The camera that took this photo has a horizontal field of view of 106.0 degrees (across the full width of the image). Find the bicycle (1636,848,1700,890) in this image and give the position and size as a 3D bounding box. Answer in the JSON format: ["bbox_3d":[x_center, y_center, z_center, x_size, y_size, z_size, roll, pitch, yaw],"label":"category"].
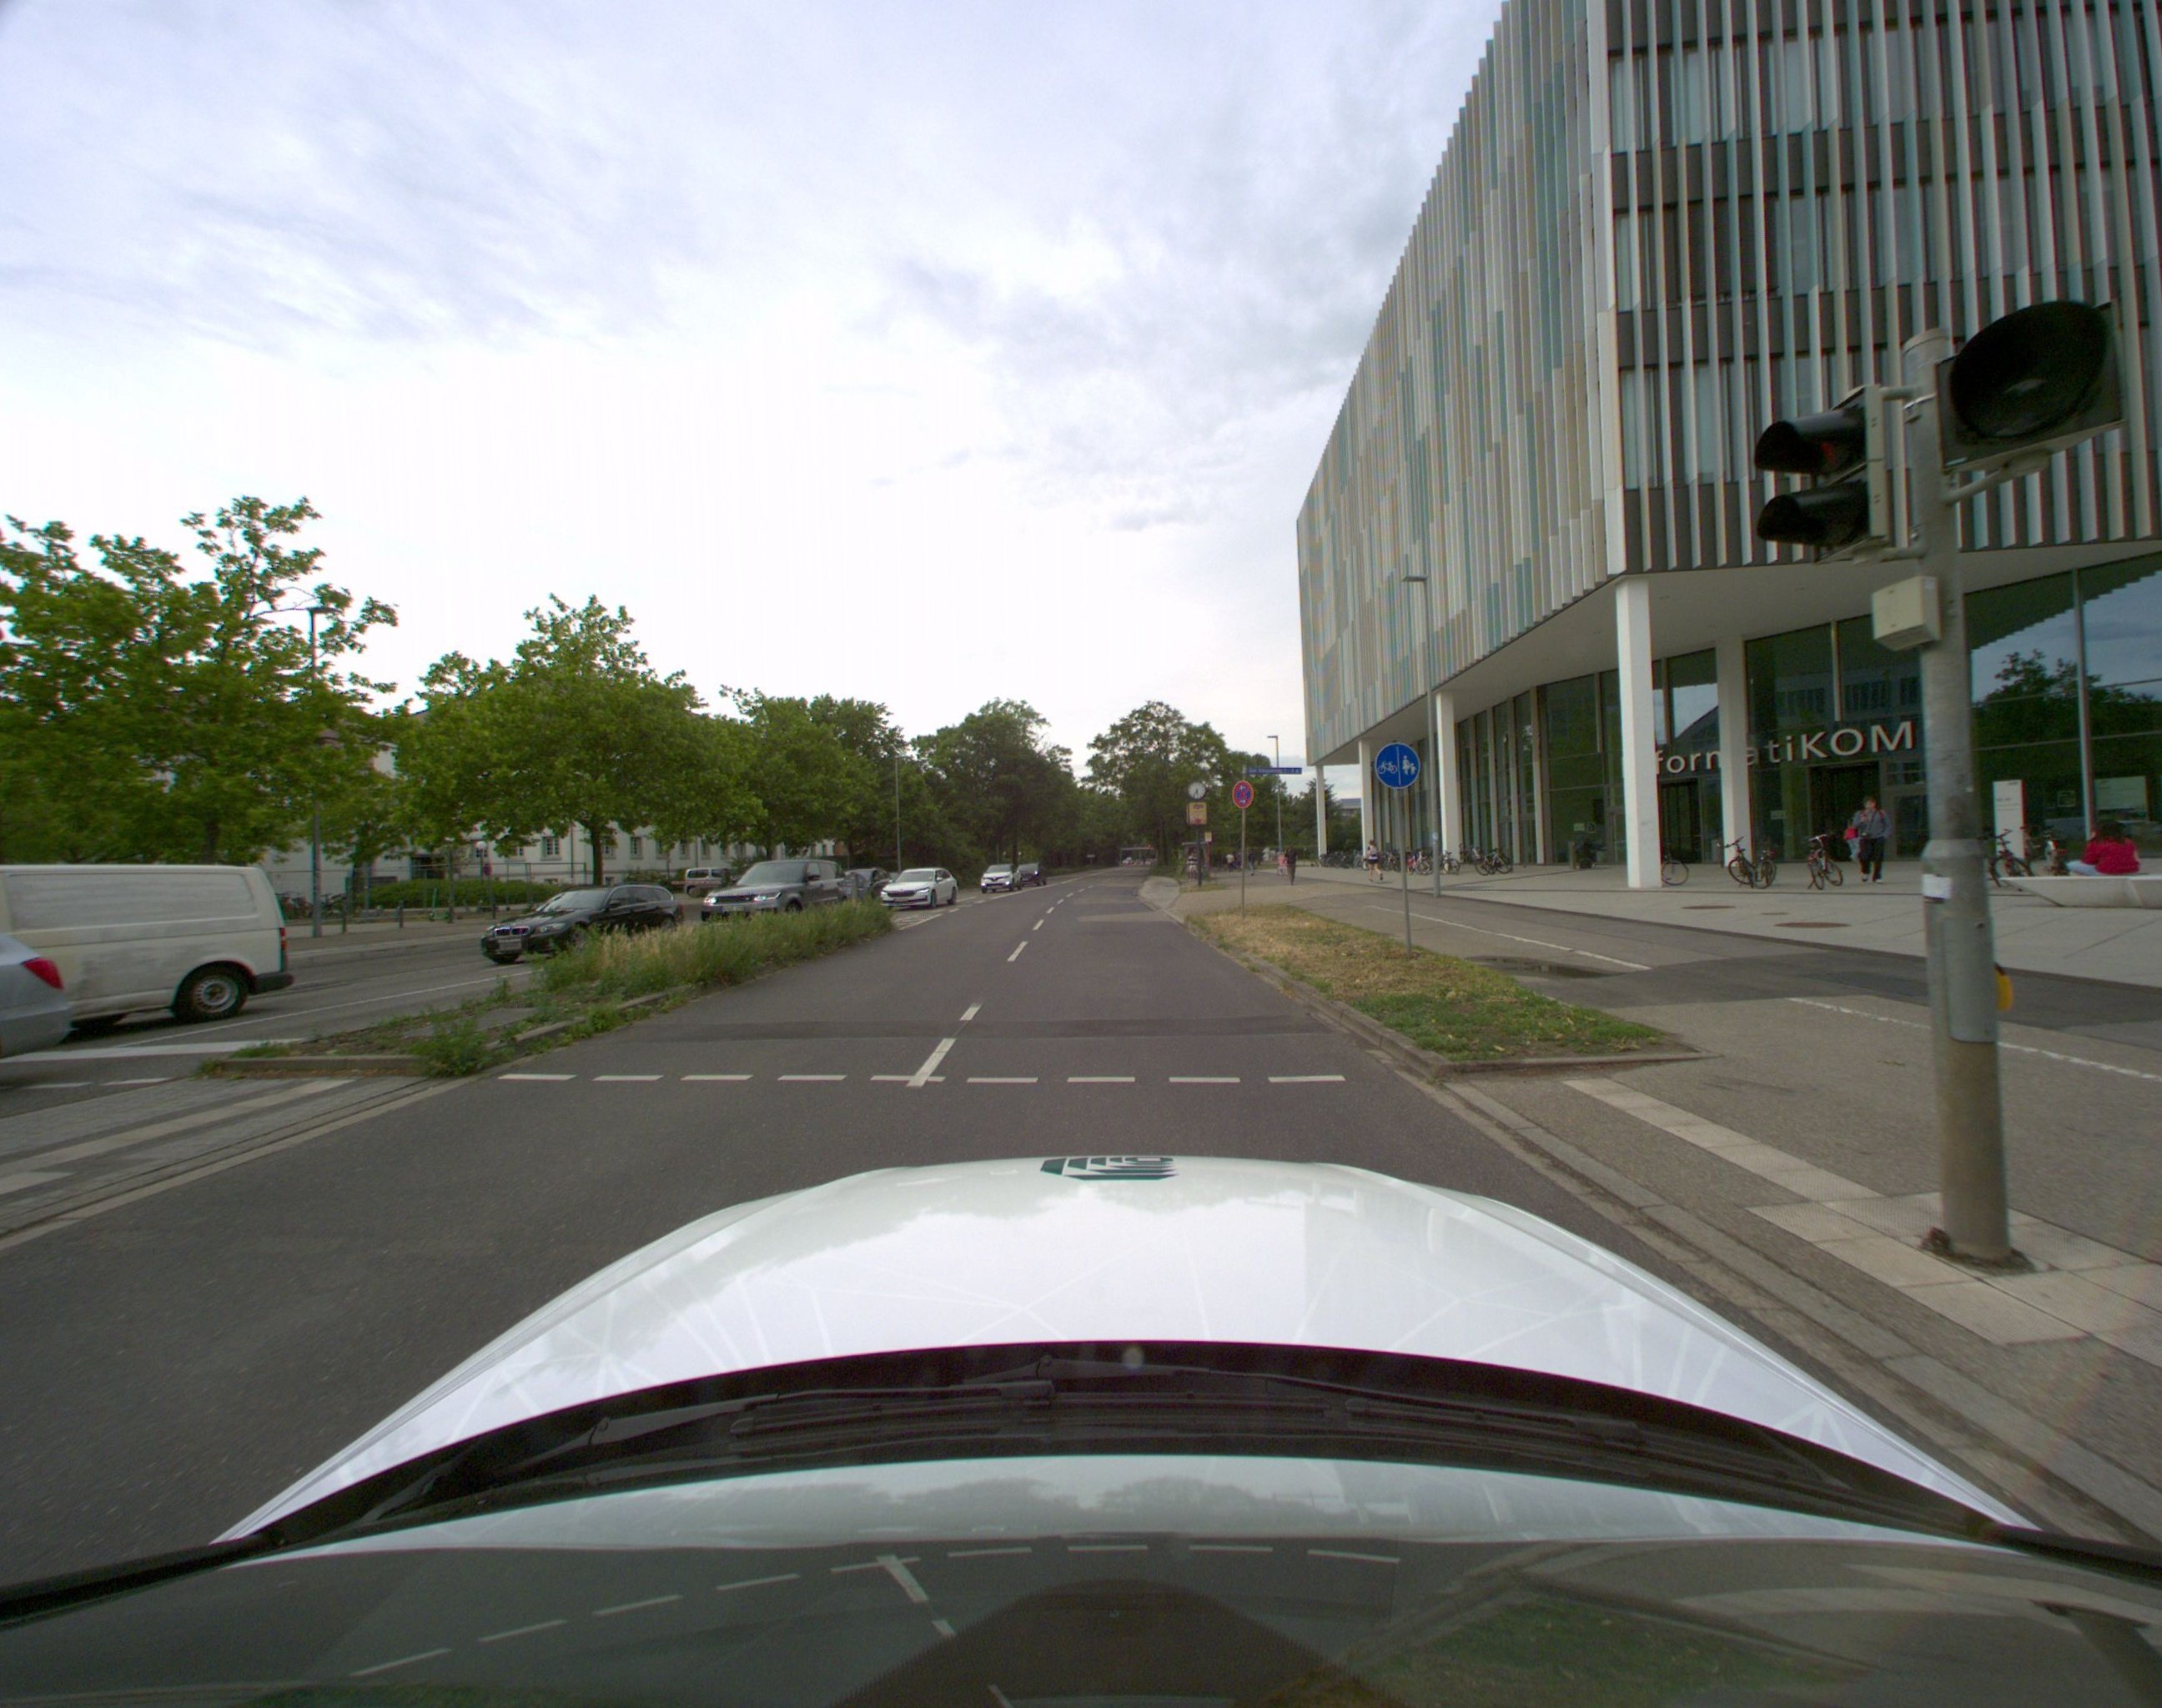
[{"bbox_3d":[15.606,0.394,21.711,0.634,1.061,1.846,-1,-1,10],"label":"bicycle"}]

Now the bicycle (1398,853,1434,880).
[{"bbox_3d":[15.155,0.581,36.898,0.633,1.140,2.201,-5,-1,1],"label":"bicycle"}]

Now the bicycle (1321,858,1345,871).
[{"bbox_3d":[18.643,0.773,60.254,1.598,0.875,0.557,-4,-1,6],"label":"bicycle"}]

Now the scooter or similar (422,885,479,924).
[{"bbox_3d":[-21.623,1.717,27.943,1.567,1.244,0.567,-2,-1,5],"label":"scooter or similar"}]

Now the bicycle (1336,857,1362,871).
[{"bbox_3d":[18.615,0.728,56.578,1.598,0.875,0.557,-4,-1,6],"label":"bicycle"}]

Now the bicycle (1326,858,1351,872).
[{"bbox_3d":[18.727,0.789,59.297,1.598,0.875,0.557,-3,-1,6],"label":"bicycle"}]

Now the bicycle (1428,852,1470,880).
[{"bbox_3d":[15.363,0.503,34.060,0.607,1.080,1.959,-4,-1,-6],"label":"bicycle"}]

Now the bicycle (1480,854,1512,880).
[{"bbox_3d":[16.388,0.507,32.138,1.494,0.929,0.436,-3,1,-34],"label":"bicycle"}]

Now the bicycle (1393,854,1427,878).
[{"bbox_3d":[16.310,0.589,40.404,1.393,1.043,0.560,-5,-1,6],"label":"bicycle"}]

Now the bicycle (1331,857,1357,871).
[{"bbox_3d":[17.924,0.673,55.550,1.598,0.875,0.557,-3,-1,6],"label":"bicycle"}]

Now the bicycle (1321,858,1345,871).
[{"bbox_3d":[18.853,0.768,60.898,1.598,0.875,0.557,-3,-1,6],"label":"bicycle"}]

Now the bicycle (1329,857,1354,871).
[{"bbox_3d":[17.230,0.668,53.788,1.447,0.839,0.557,-3,-1,6],"label":"bicycle"}]

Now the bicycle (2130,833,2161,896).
[{"bbox_3d":[18.571,0.147,13.602,2.195,1.006,0.775,-2,-1,-25],"label":"bicycle"}]

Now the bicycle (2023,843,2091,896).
[{"bbox_3d":[18.248,0.282,15.263,1.856,0.899,0.664,-2,-1,-43],"label":"bicycle"}]

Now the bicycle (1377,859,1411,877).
[{"bbox_3d":[17.038,0.758,44.306,1.598,0.875,0.557,-3,-1,6],"label":"bicycle"}]

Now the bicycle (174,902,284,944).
[{"bbox_3d":[-26.916,2.166,25.761,2.736,1.174,0.722,-3,-1,1],"label":"bicycle"}]

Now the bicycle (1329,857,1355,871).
[{"bbox_3d":[17.990,0.676,56.132,1.598,0.875,0.557,-3,-1,6],"label":"bicycle"}]

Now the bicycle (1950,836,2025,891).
[{"bbox_3d":[17.810,0.173,15.994,1.969,1.002,0.766,-2,-1,-37],"label":"bicycle"}]

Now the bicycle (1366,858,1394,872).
[{"bbox_3d":[18.035,0.663,49.142,1.427,0.746,0.557,-3,-1,6],"label":"bicycle"}]

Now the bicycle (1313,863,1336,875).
[{"bbox_3d":[18.470,1.153,61.806,1.598,0.875,0.557,-2,-1,6],"label":"bicycle"}]

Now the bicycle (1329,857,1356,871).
[{"bbox_3d":[17.497,0.672,54.563,1.598,0.875,0.557,-3,-1,6],"label":"bicycle"}]

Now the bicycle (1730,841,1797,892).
[{"bbox_3d":[16.341,0.286,19.487,2.193,1.115,0.728,-2,-1,-38],"label":"bicycle"}]

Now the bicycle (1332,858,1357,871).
[{"bbox_3d":[18.785,0.762,58.096,1.598,0.875,0.557,-3,-1,6],"label":"bicycle"}]

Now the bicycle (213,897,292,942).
[{"bbox_3d":[-32.638,2.572,32.094,2.390,1.594,0.722,-3,-1,1],"label":"bicycle"}]

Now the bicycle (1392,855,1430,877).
[{"bbox_3d":[16.595,0.594,40.950,1.598,0.982,0.557,-5,-1,6],"label":"bicycle"}]

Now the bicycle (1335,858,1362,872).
[{"bbox_3d":[17.268,0.714,52.544,1.525,0.834,0.557,-3,-1,6],"label":"bicycle"}]

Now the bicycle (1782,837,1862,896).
[{"bbox_3d":[16.464,0.264,18.067,2.732,1.188,0.766,-2,-1,-37],"label":"bicycle"}]

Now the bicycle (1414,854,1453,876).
[{"bbox_3d":[17.034,0.520,39.419,1.594,0.936,0.571,-5,-1,16],"label":"bicycle"}]

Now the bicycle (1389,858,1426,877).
[{"bbox_3d":[16.655,0.671,41.545,1.598,0.875,0.557,-3,-1,6],"label":"bicycle"}]

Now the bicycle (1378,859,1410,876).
[{"bbox_3d":[17.722,0.772,46.103,1.598,0.896,0.367,-3,-1,6],"label":"bicycle"}]

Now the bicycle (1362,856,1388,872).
[{"bbox_3d":[17.096,0.578,47.434,1.276,0.875,0.557,-3,-1,6],"label":"bicycle"}]

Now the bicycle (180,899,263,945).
[{"bbox_3d":[-32.606,2.560,30.921,2.390,1.594,0.722,-3,-1,1],"label":"bicycle"}]
